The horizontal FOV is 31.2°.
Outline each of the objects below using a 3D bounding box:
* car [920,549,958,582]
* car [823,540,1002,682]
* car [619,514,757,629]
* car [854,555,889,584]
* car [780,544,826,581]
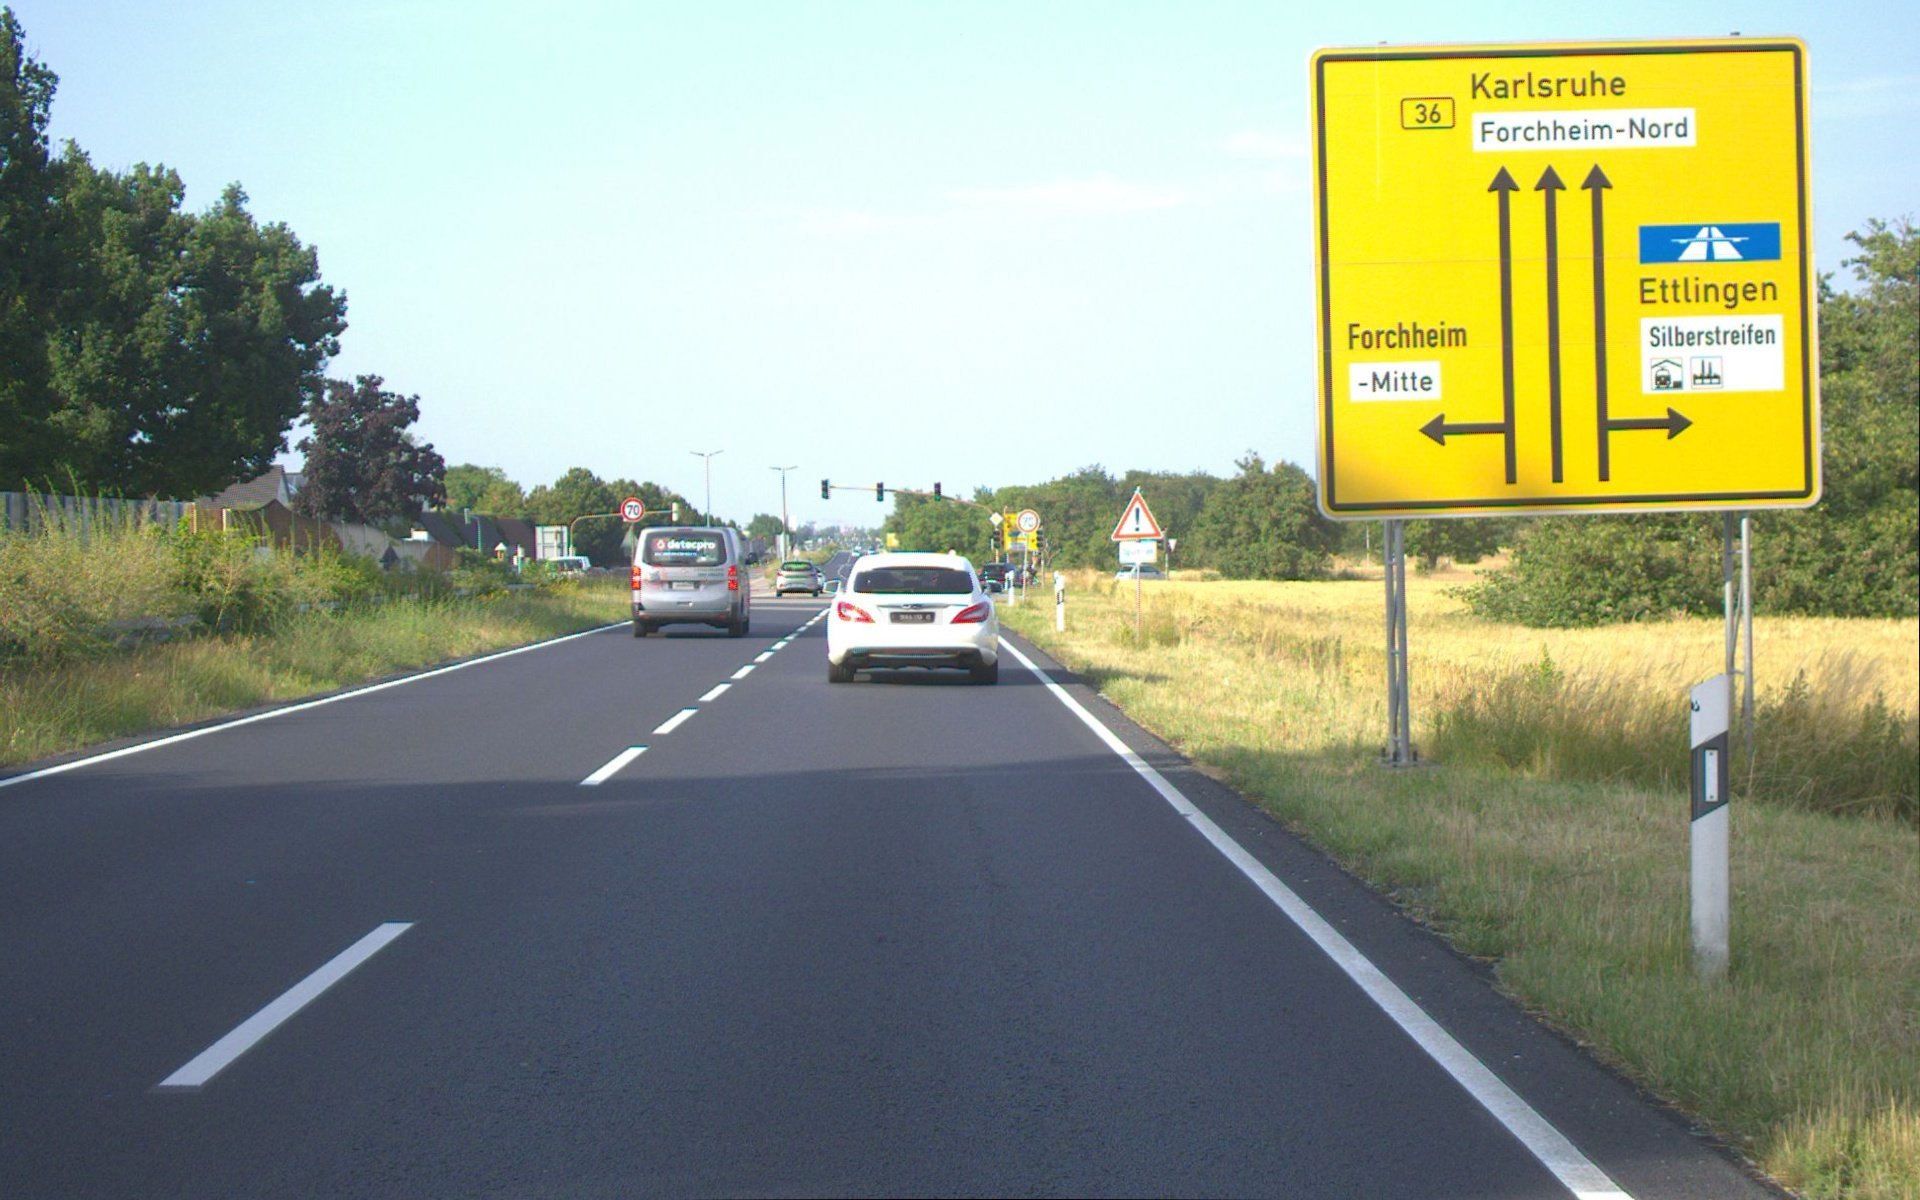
[{"bbox_3d":[-0.996,-1.635,162.628,1.754,1.511,4.000,-1,1,-1],"label":"car"},{"bbox_3d":[-0.558,0.087,38.430,1.894,1.503,4.000,0,1,-2],"label":"car"},{"bbox_3d":[-4.659,-0.523,59.565,2.025,1.885,4.959,1,1,-1],"label":"car"},{"bbox_3d":[-5.166,-1.783,200.757,1.839,1.678,4.000,1,1,1],"label":"car"},{"bbox_3d":[-6.348,-1.527,139.379,1.717,1.487,3.585,1,1,-1],"label":"car"}]
